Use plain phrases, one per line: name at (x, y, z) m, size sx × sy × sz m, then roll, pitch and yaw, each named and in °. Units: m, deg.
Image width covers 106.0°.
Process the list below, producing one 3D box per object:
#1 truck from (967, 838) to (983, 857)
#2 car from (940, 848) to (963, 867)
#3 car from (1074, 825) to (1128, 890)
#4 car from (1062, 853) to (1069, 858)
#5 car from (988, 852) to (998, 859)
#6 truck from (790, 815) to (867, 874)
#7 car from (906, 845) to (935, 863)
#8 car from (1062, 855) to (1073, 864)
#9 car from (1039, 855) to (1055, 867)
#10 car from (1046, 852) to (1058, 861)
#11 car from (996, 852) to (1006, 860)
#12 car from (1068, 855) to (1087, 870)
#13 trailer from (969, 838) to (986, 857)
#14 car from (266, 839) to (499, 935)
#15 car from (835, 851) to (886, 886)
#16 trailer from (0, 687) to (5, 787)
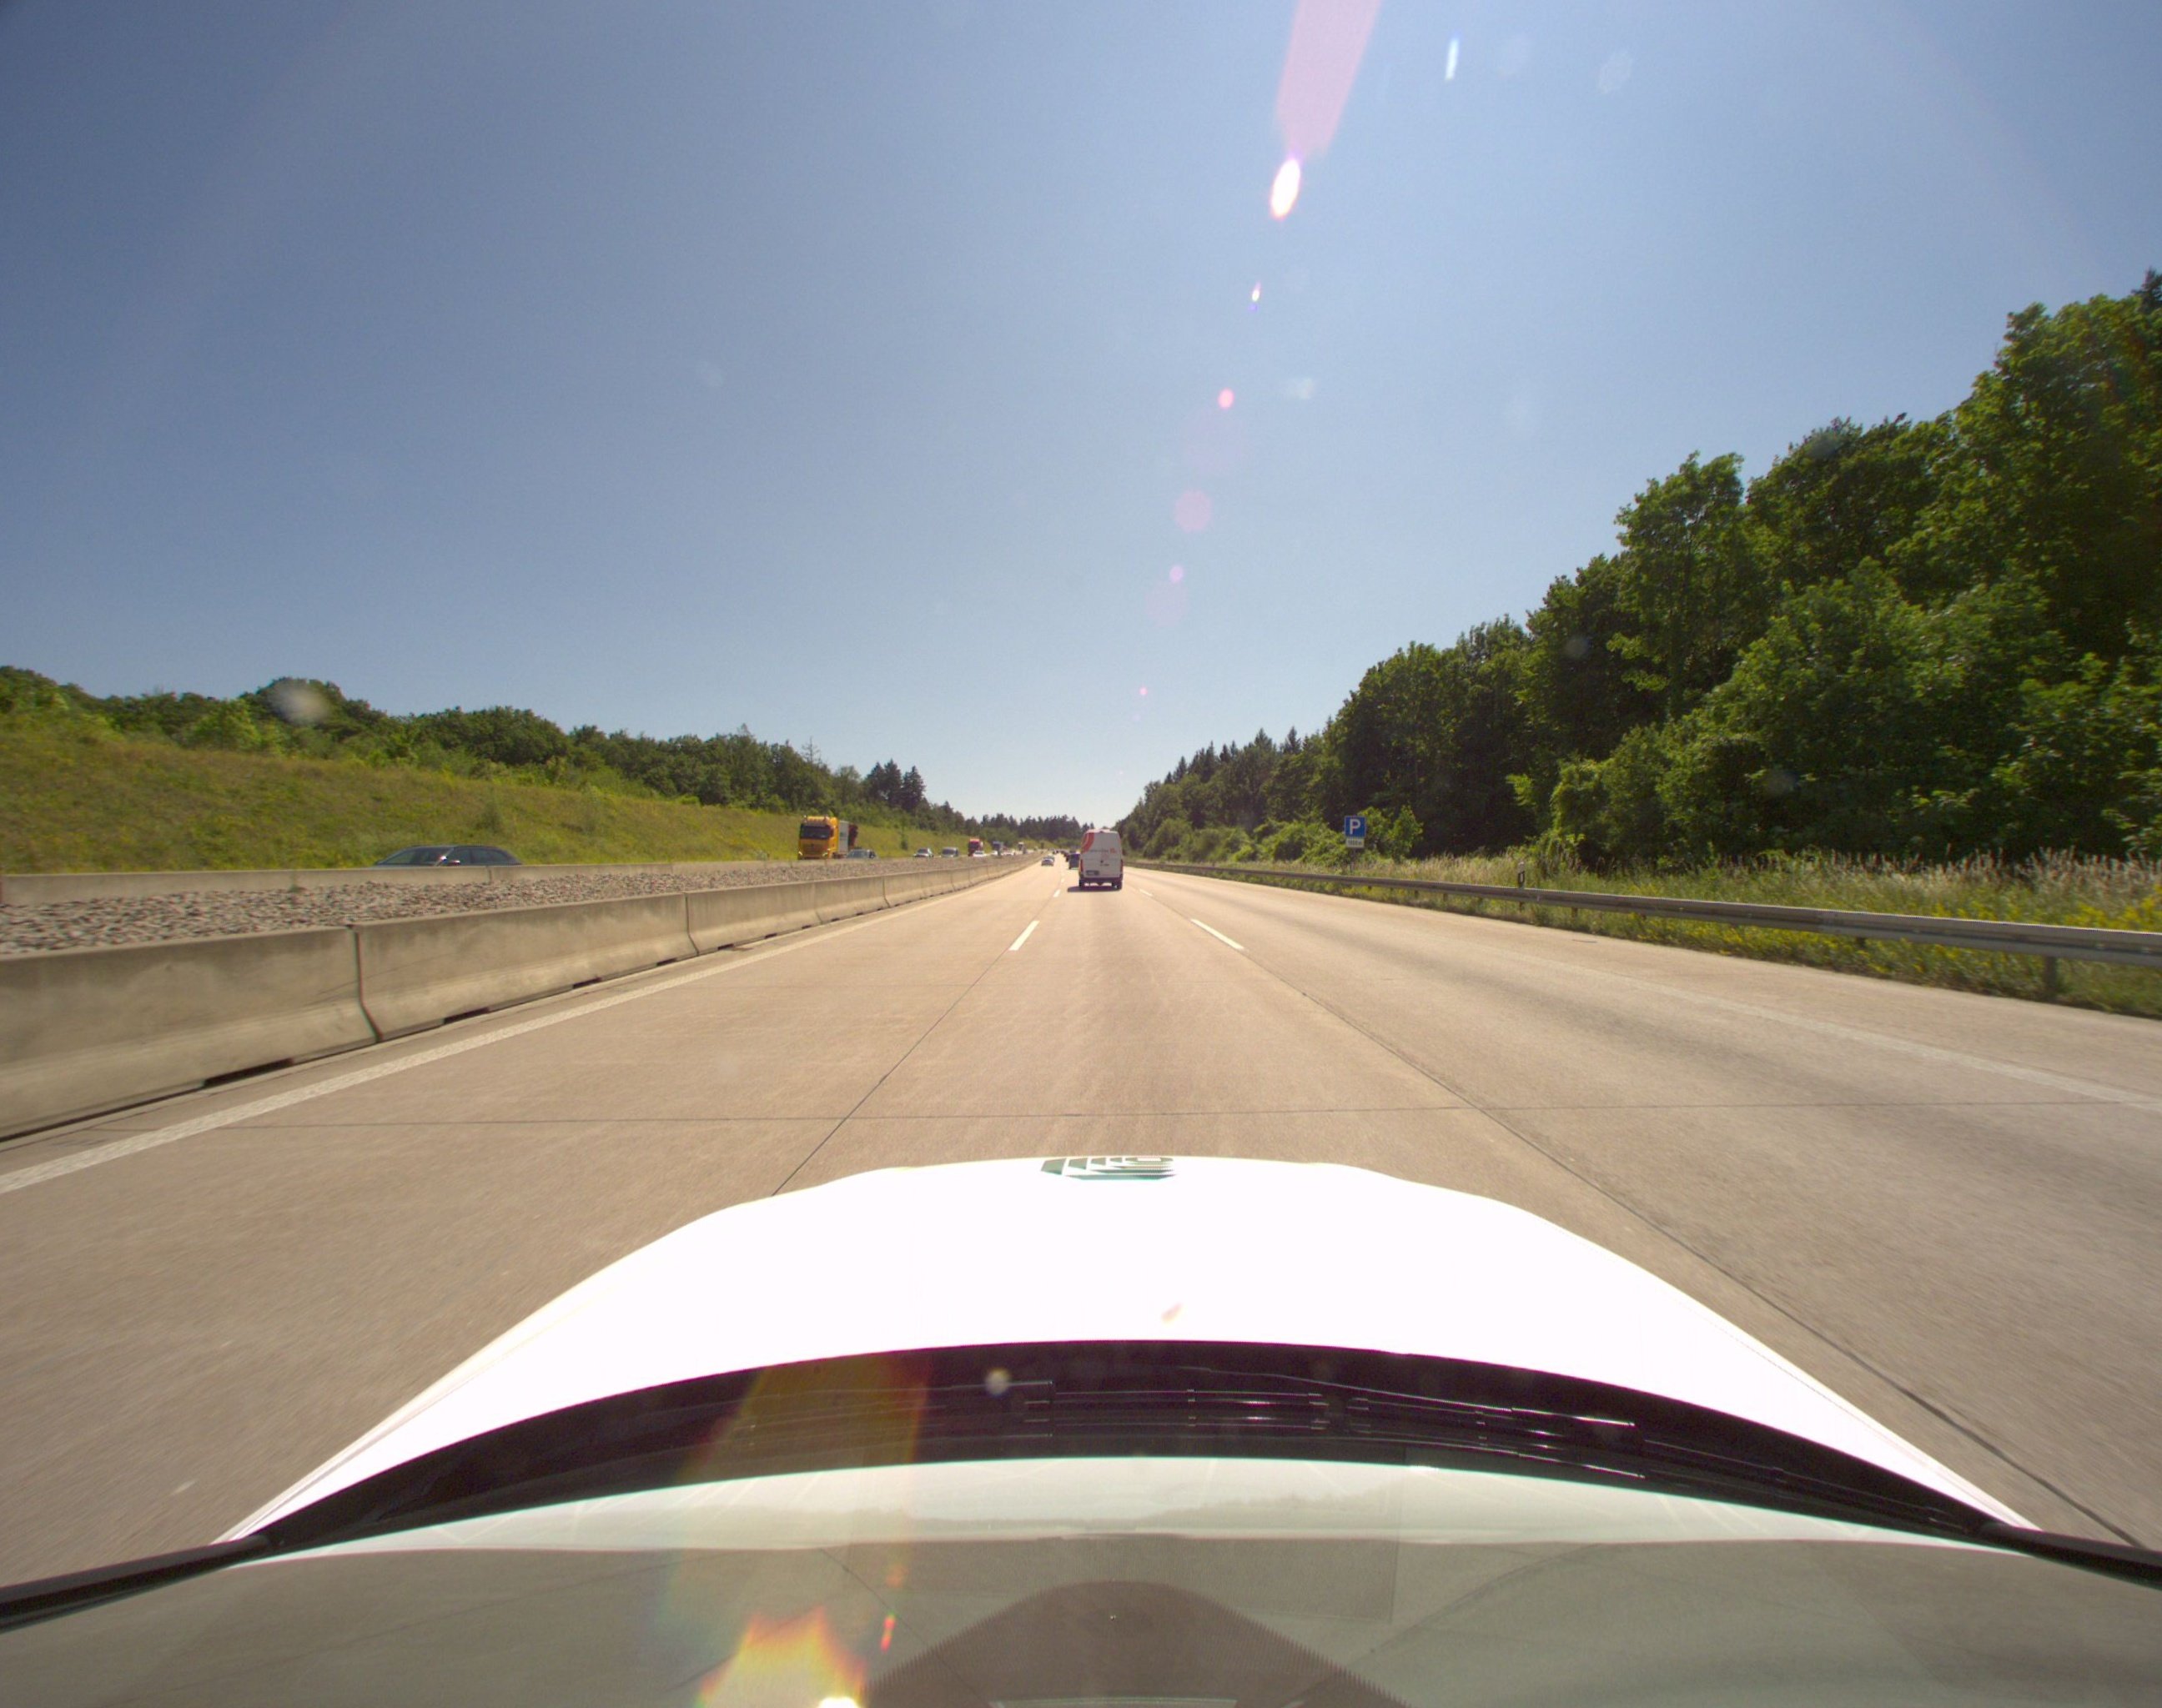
truck at (-24.468, -1.554, 188.121) m, size 2.925 × 4.169 × 5.978 m, roll 2°, pitch 0°, yaw -1°
car at (-14.475, 0.399, 90.892) m, size 1.989 × 2.013 × 4.456 m, roll -1°, pitch 0°, yaw -2°
car at (0.849, 0.138, 38.552) m, size 2.221 × 2.844 × 5.450 m, roll 0°, pitch 0°, yaw -2°
car at (-4.757, 0.452, 248.515) m, size 1.986 × 1.684 × 4.002 m, roll 2°, pitch 0°, yaw 2°
car at (-20.705, 0.402, 192.613) m, size 1.988 × 1.583 × 4.177 m, roll 1°, pitch 0°, yaw -1°
truck at (-20.745, -0.716, 67.710) m, size 2.905 × 4.513 × 11.255 m, roll 0°, pitch 0°, yaw -1°
car at (-18.480, 0.047, 94.157) m, size 2.276 × 2.013 × 4.804 m, roll -1°, pitch 0°, yaw 1°
car at (-2.853, 1.140, 169.552) m, size 1.986 × 1.684 × 4.002 m, roll 2°, pitch 0°, yaw 2°
car at (-5.036, 1.057, 121.762) m, size 1.986 × 1.684 × 4.002 m, roll 2°, pitch 0°, yaw 2°
car at (-5.790, 0.578, 163.169) m, size 1.986 × 1.684 × 4.002 m, roll 2°, pitch 0°, yaw 2°
car at (-19.603, 0.454, 200.610) m, size 1.988 × 1.873 × 4.965 m, roll 1°, pitch 0°, yaw -1°
car at (-0.396, 0.952, 96.039) m, size 1.986 × 1.684 × 4.002 m, roll 2°, pitch 0°, yaw 2°
trailer at (-24.586, -1.530, 193.390) m, size 2.925 × 4.169 × 9.329 m, roll 2°, pitch 0°, yaw -1°
car at (-16.188, 0.706, 19.198) m, size 1.986 × 2.013 × 4.001 m, roll -1°, pitch 0°, yaw 1°
car at (-13.589, 0.872, 50.480) m, size 1.986 × 2.013 × 4.001 m, roll -1°, pitch 0°, yaw 1°
trailer at (-20.551, -0.926, 7.687) m, size 2.923 × 4.169 × 13.191 m, roll 2°, pitch 0°, yaw 1°
